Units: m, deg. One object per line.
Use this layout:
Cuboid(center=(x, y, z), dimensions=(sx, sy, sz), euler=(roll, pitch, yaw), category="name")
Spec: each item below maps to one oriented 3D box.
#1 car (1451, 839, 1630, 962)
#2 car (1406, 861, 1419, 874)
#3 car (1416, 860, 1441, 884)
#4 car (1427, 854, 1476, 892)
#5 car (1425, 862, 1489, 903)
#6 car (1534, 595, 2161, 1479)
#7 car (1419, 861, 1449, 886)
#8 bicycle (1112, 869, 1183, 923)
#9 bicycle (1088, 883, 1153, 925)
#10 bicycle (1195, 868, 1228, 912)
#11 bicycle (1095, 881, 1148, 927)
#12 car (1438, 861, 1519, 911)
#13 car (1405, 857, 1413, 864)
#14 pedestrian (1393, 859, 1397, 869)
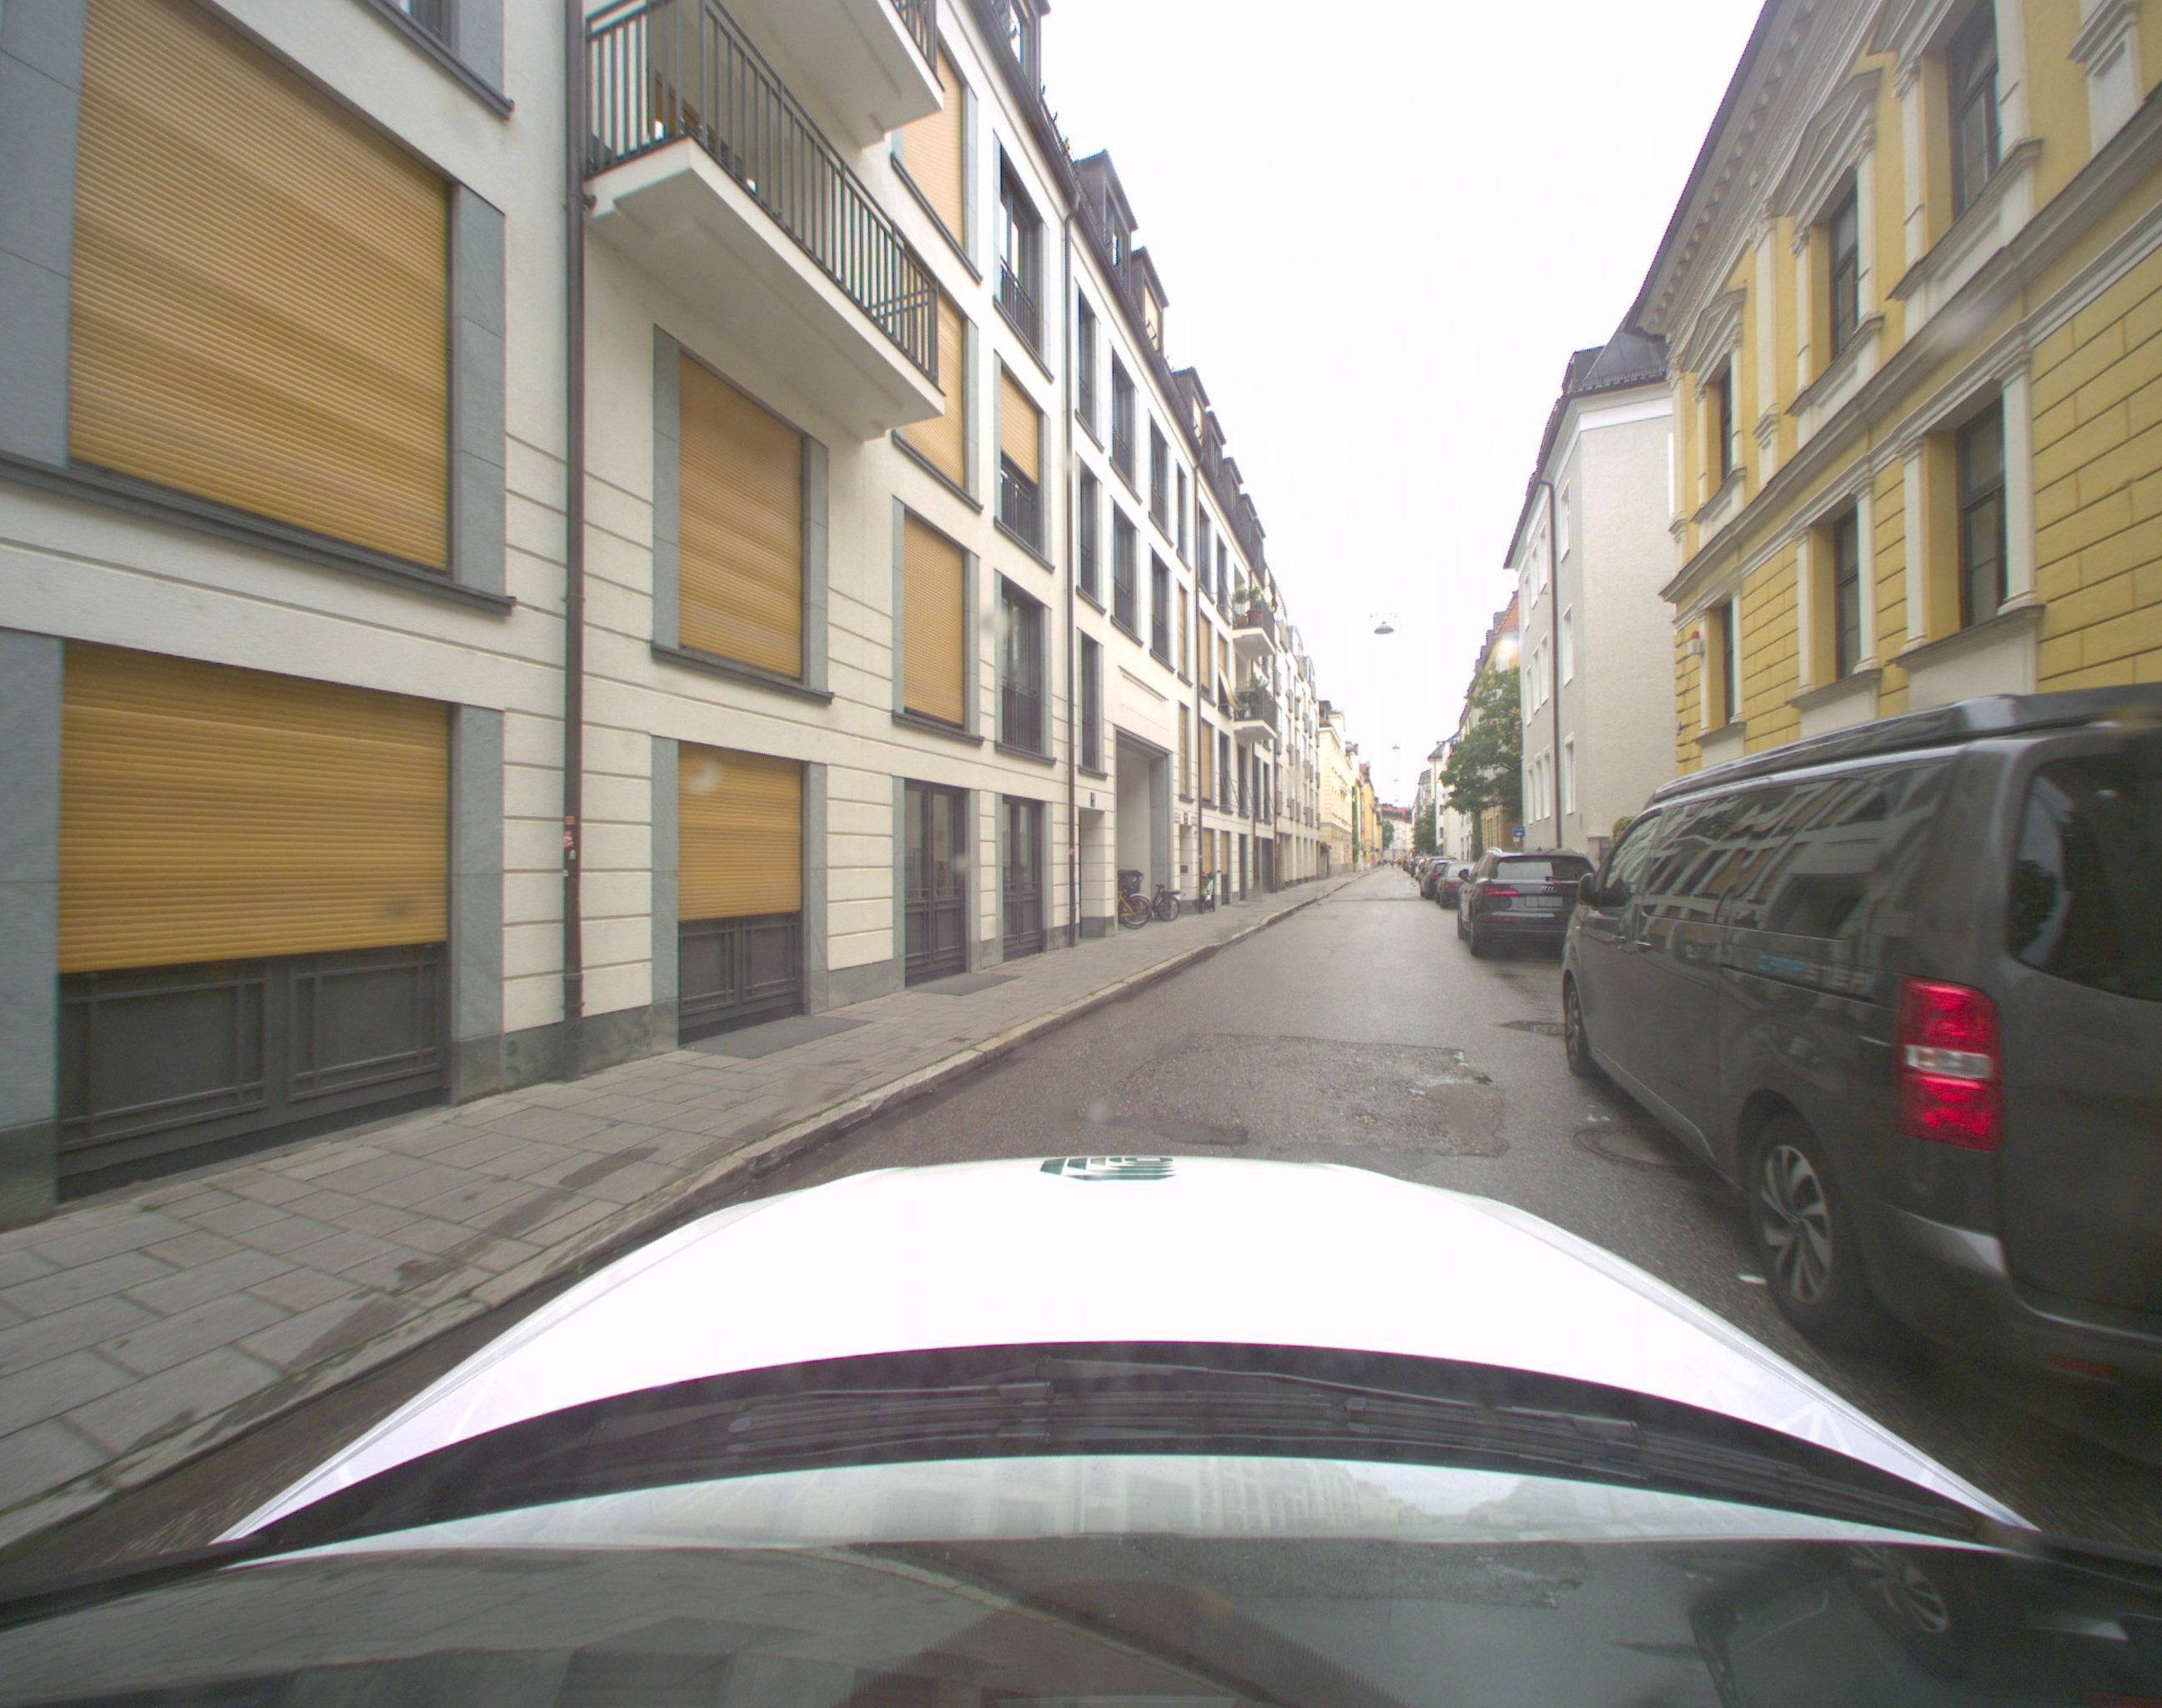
Cuboid(center=(7.212, 0.650, 13.239), dimensions=(1.878, 1.641, 4.343), euler=(-1, -1, 21), category="car")
Cuboid(center=(49.311, 2.048, 121.167), dimensions=(1.686, 1.917, 3.793), euler=(-1, -1, 21), category="car")
Cuboid(center=(27.857, 1.423, 65.383), dimensions=(1.686, 1.900, 3.793), euler=(-1, -1, 21), category="car")
Cuboid(center=(15.848, 0.775, 34.971), dimensions=(1.686, 1.546, 3.793), euler=(-1, -1, 21), category="car")
Cuboid(center=(13.762, 1.001, 30.002), dimensions=(1.878, 1.377, 3.960), euler=(-1, -1, 21), category="car")
Cuboid(center=(3.639, 0.421, 3.809), dimensions=(1.977, 1.932, 4.683), euler=(1, 0, 21), category="car")
Cuboid(center=(23.892, 1.269, 55.158), dimensions=(1.686, 1.623, 3.793), euler=(-1, -1, 21), category="car")
Cuboid(center=(1.561, 0.958, 19.003), dimensions=(1.689, 1.193, 0.377), euler=(0, 1, -25), category="bicycle")
Cuboid(center=(0.866, 1.097, 18.000), dimensions=(1.388, 0.888, 0.378), euler=(0, 1, -13), category="bicycle")
Cuboid(center=(3.600, 0.974, 22.337), dimensions=(0.337, 1.146, 2.203), euler=(-1, -2, 23), category="bicycle")
Cuboid(center=(0.862, 1.051, 17.300), dimensions=(1.064, 0.947, 0.307), euler=(0, 1, -13), category="bicycle")
Cuboid(center=(12.090, 0.923, 24.958), dimensions=(1.878, 1.377, 3.815), euler=(-1, -1, 21), category="car")
Cuboid(center=(74.182, 1.497, 184.173), dimensions=(1.353, 1.656, 3.483), euler=(-1, -1, 20), category="car")
Cuboid(center=(53.603, 1.659, 139.076), dimensions=(0.534, 1.654, 0.378), euler=(-1, -1, 22), category="pedestrian")
